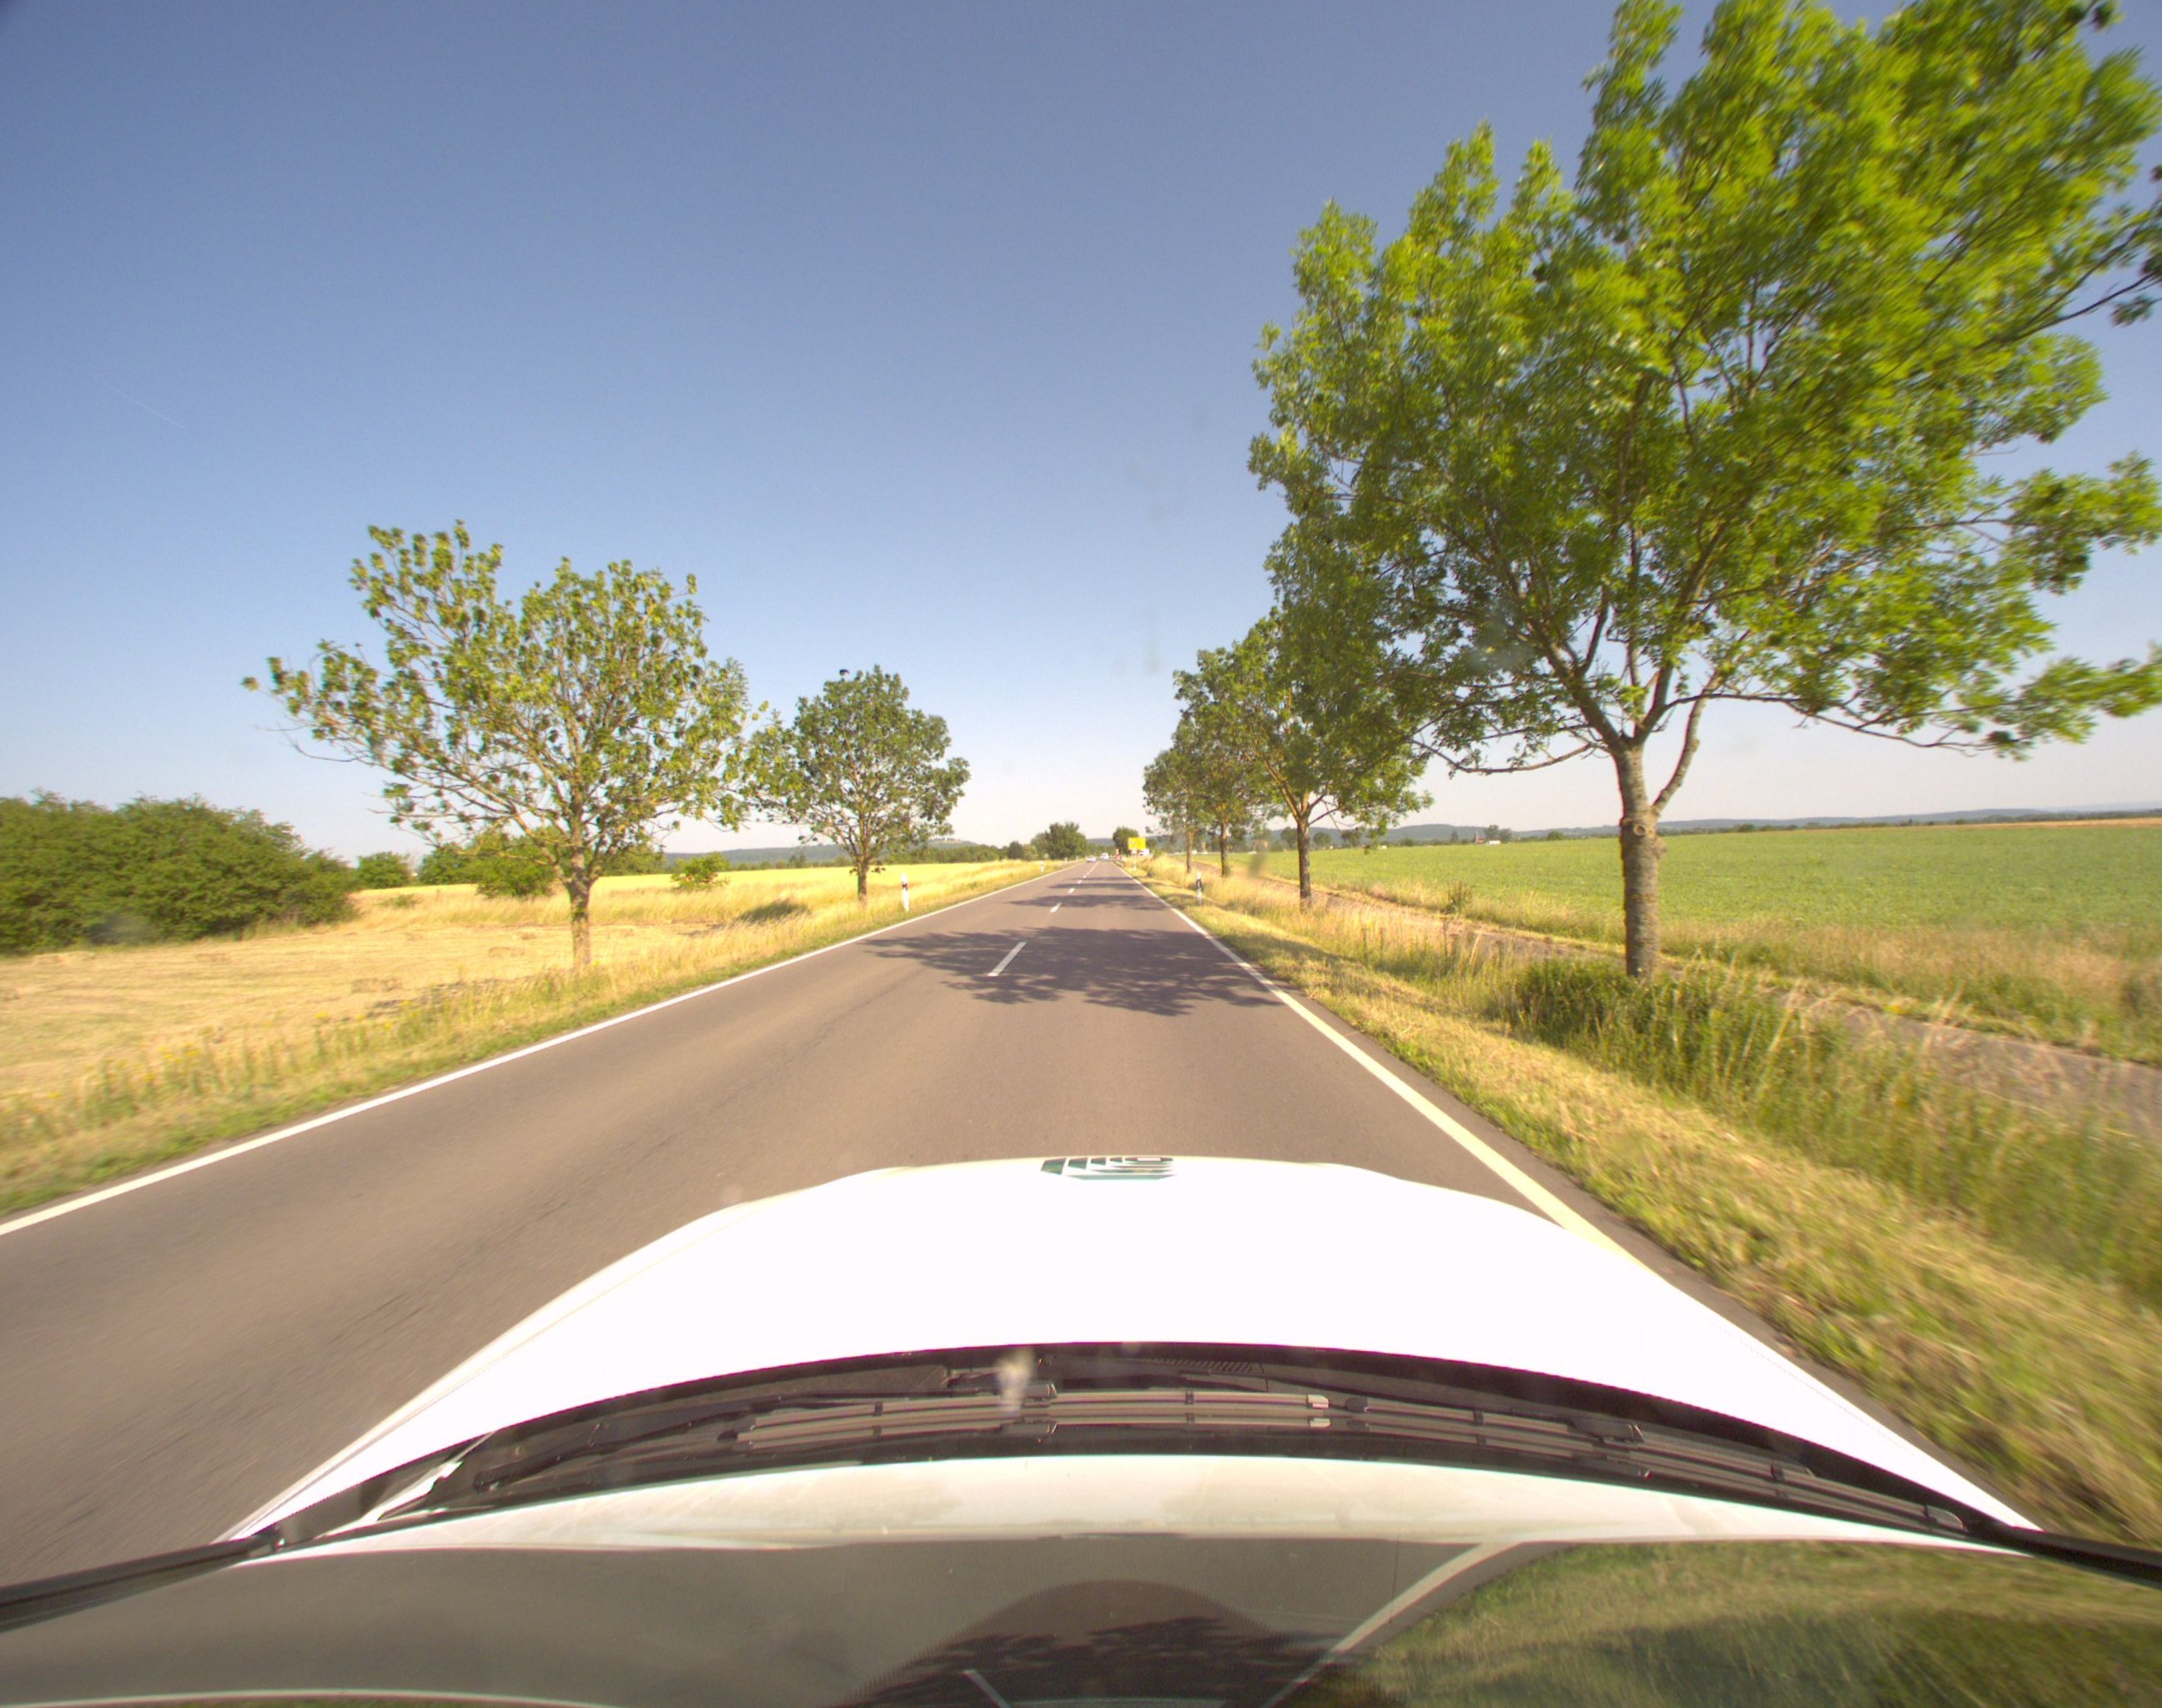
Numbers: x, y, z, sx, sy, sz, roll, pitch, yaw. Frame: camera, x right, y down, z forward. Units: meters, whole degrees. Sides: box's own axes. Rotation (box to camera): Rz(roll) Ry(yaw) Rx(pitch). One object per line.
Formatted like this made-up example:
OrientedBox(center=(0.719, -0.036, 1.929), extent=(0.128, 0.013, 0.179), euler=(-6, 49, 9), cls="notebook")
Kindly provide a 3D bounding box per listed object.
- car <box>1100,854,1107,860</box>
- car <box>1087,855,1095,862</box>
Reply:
OrientedBox(center=(6.613, 0.824, 237.792), extent=(1.829, 1.787, 4.436), euler=(-1, 0, 2), cls="car")
OrientedBox(center=(2.365, 1.060, 187.726), extent=(1.720, 1.437, 4.517), euler=(-1, -1, 1), cls="car")
